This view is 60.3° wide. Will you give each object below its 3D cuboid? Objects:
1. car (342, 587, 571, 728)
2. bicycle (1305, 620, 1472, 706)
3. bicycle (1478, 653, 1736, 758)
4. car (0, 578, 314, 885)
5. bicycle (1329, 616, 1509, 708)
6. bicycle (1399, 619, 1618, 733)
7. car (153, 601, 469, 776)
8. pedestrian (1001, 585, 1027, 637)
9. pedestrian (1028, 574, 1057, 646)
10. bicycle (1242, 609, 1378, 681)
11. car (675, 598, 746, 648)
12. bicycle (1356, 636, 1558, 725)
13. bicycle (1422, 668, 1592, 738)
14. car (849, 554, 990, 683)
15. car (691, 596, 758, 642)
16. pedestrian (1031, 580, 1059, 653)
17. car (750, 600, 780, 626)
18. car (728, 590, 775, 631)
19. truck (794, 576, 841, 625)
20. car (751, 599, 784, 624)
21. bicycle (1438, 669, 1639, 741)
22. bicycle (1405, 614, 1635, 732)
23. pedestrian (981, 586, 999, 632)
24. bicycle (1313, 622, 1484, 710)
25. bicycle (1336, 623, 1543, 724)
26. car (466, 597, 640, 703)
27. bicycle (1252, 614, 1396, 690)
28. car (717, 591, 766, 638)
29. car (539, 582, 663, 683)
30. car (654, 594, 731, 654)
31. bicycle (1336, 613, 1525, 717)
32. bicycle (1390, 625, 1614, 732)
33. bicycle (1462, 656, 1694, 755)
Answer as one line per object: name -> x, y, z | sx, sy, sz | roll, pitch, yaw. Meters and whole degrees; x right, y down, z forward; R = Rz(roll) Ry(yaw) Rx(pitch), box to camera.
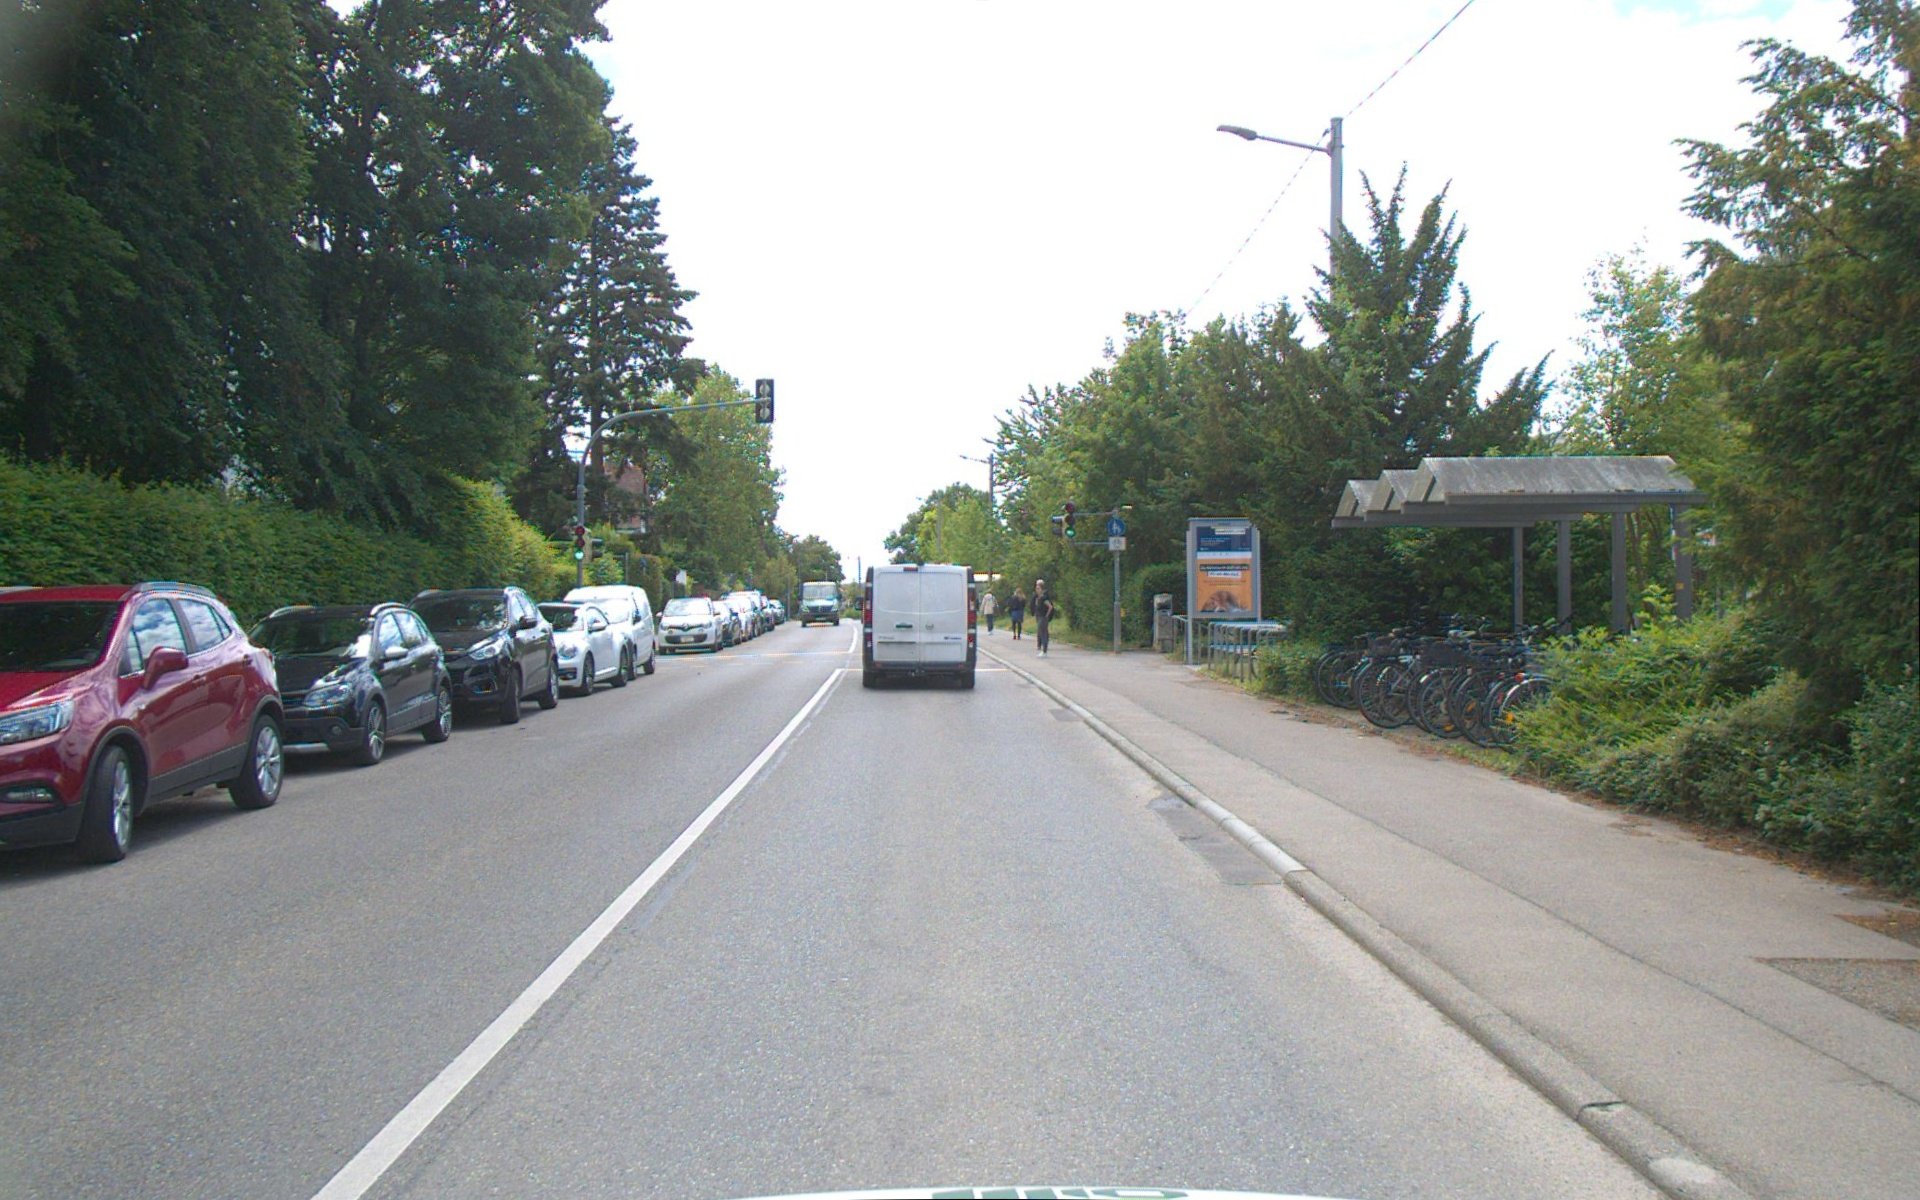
car -> -6.415, 0.659, 21.627 | 1.859, 1.621, 4.640 | -1, 0, -4
bicycle -> 5.535, 0.814, 21.387 | 2.048, 1.066, 0.450 | 1, -1, -6
bicycle -> 5.576, 0.899, 14.297 | 2.033, 0.841, 0.451 | 1, 0, 3
car -> -5.884, 0.697, 10.984 | 1.755, 1.638, 4.412 | -1, 0, -5
bicycle -> 5.516, 0.750, 19.899 | 2.044, 1.066, 0.451 | -1, -1, 18
bicycle -> 5.804, 0.794, 17.524 | 2.158, 1.065, 0.451 | -3, 0, -5
car -> -6.288, 0.769, 16.555 | 1.699, 1.484, 4.234 | 0, 0, -4
pedestrian -> 1.787, 0.367, 55.173 | 0.822, 1.688, 0.766 | 1, -1, 0
pedestrian -> 2.244, 0.278, 44.954 | 0.729, 1.915, 0.801 | 1, -1, 3
bicycle -> 5.601, 0.715, 26.523 | 2.046, 1.100, 0.546 | -1, 0, -1
car -> -7.988, 0.707, 53.247 | 1.708, 1.435, 4.321 | -2, 0, -2
bicycle -> 5.588, 0.906, 18.617 | 2.158, 0.954, 0.451 | 1, -1, -6
bicycle -> 5.310, 0.997, 16.057 | 1.648, 0.650, 0.331 | 1, -1, -14
car -> -0.785, 0.298, 28.150 | 1.995, 1.979, 4.987 | 1, 0, -6
car -> -8.348, 0.657, 58.956 | 1.769, 1.484, 5.066 | -2, 0, -2
pedestrian -> 2.004, 0.385, 39.090 | 0.634, 1.693, 0.708 | 1, -1, 2
car -> -11.614, 0.738, 98.381 | 1.621, 1.452, 3.897 | -2, 0, -9
car -> -9.736, 0.457, 77.656 | 1.946, 1.851, 4.703 | 0, 0, -4
truck -> -7.503, 0.018, 87.647 | 2.145, 2.413, 6.901 | -2, 0, -2
car -> -11.985, 0.727, 103.281 | 1.830, 1.484, 4.485 | -1, 0, -4
bicycle -> 5.532, 1.000, 15.800 | 1.948, 0.650, 0.331 | 1, -1, -14
bicycle -> 5.623, 0.730, 16.668 | 2.154, 1.169, 0.451 | 0, -1, 3
pedestrian -> 1.121, 0.343, 61.800 | 0.672, 1.688, 0.690 | 1, -1, 1
bicycle -> 5.513, 0.828, 20.829 | 2.048, 1.066, 0.450 | 1, -1, -6
bicycle -> 5.249, 0.797, 18.134 | 2.157, 1.066, 0.451 | 0, 0, -5
car -> -6.585, 0.756, 27.217 | 1.670, 1.478, 4.357 | -3, 0, 1
bicycle -> 5.538, 0.785, 25.194 | 2.046, 1.065, 0.559 | 2, -1, 0
car -> -8.643, 0.545, 65.601 | 1.594, 1.707, 4.580 | -3, 0, -4
car -> -6.987, 0.588, 32.609 | 1.643, 1.789, 4.604 | -2, 0, -4
car -> -7.684, 0.658, 47.722 | 1.668, 1.570, 3.741 | -2, 0, -2
bicycle -> 5.427, 0.744, 19.106 | 2.048, 1.171, 0.530 | 0, 0, -6
bicycle -> 5.583, 0.802, 17.092 | 2.154, 1.066, 0.451 | -1, -1, 3
bicycle -> 5.595, 0.952, 14.999 | 1.949, 0.841, 0.451 | 1, -1, -3
